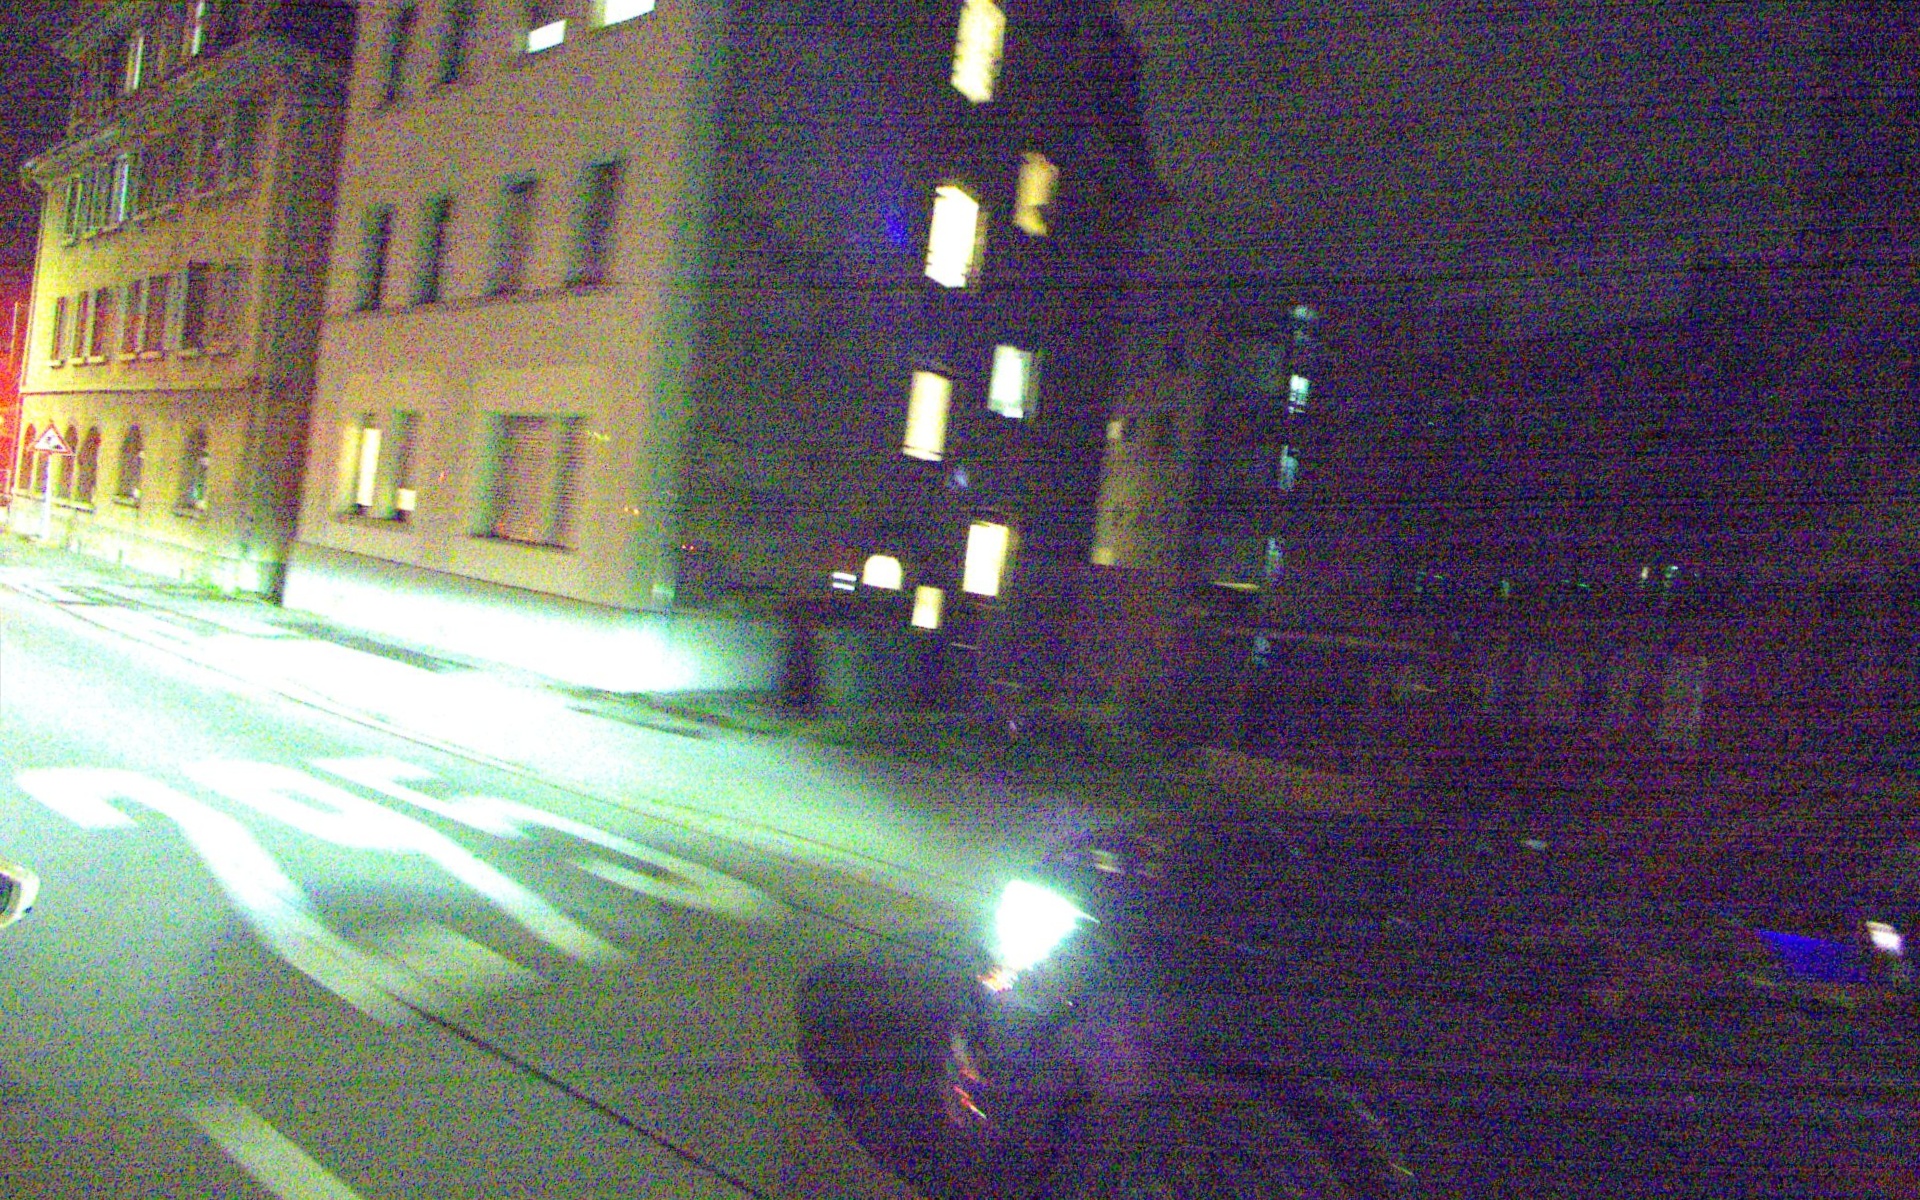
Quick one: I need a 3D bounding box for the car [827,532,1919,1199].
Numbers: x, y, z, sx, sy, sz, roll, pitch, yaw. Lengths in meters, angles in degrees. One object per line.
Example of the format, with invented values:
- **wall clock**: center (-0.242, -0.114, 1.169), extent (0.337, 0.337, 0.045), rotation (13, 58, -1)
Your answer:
- **car**: center (1.976, 0.933, 2.032), extent (4.157, 1.629, 1.674), rotation (7, -1, 30)
